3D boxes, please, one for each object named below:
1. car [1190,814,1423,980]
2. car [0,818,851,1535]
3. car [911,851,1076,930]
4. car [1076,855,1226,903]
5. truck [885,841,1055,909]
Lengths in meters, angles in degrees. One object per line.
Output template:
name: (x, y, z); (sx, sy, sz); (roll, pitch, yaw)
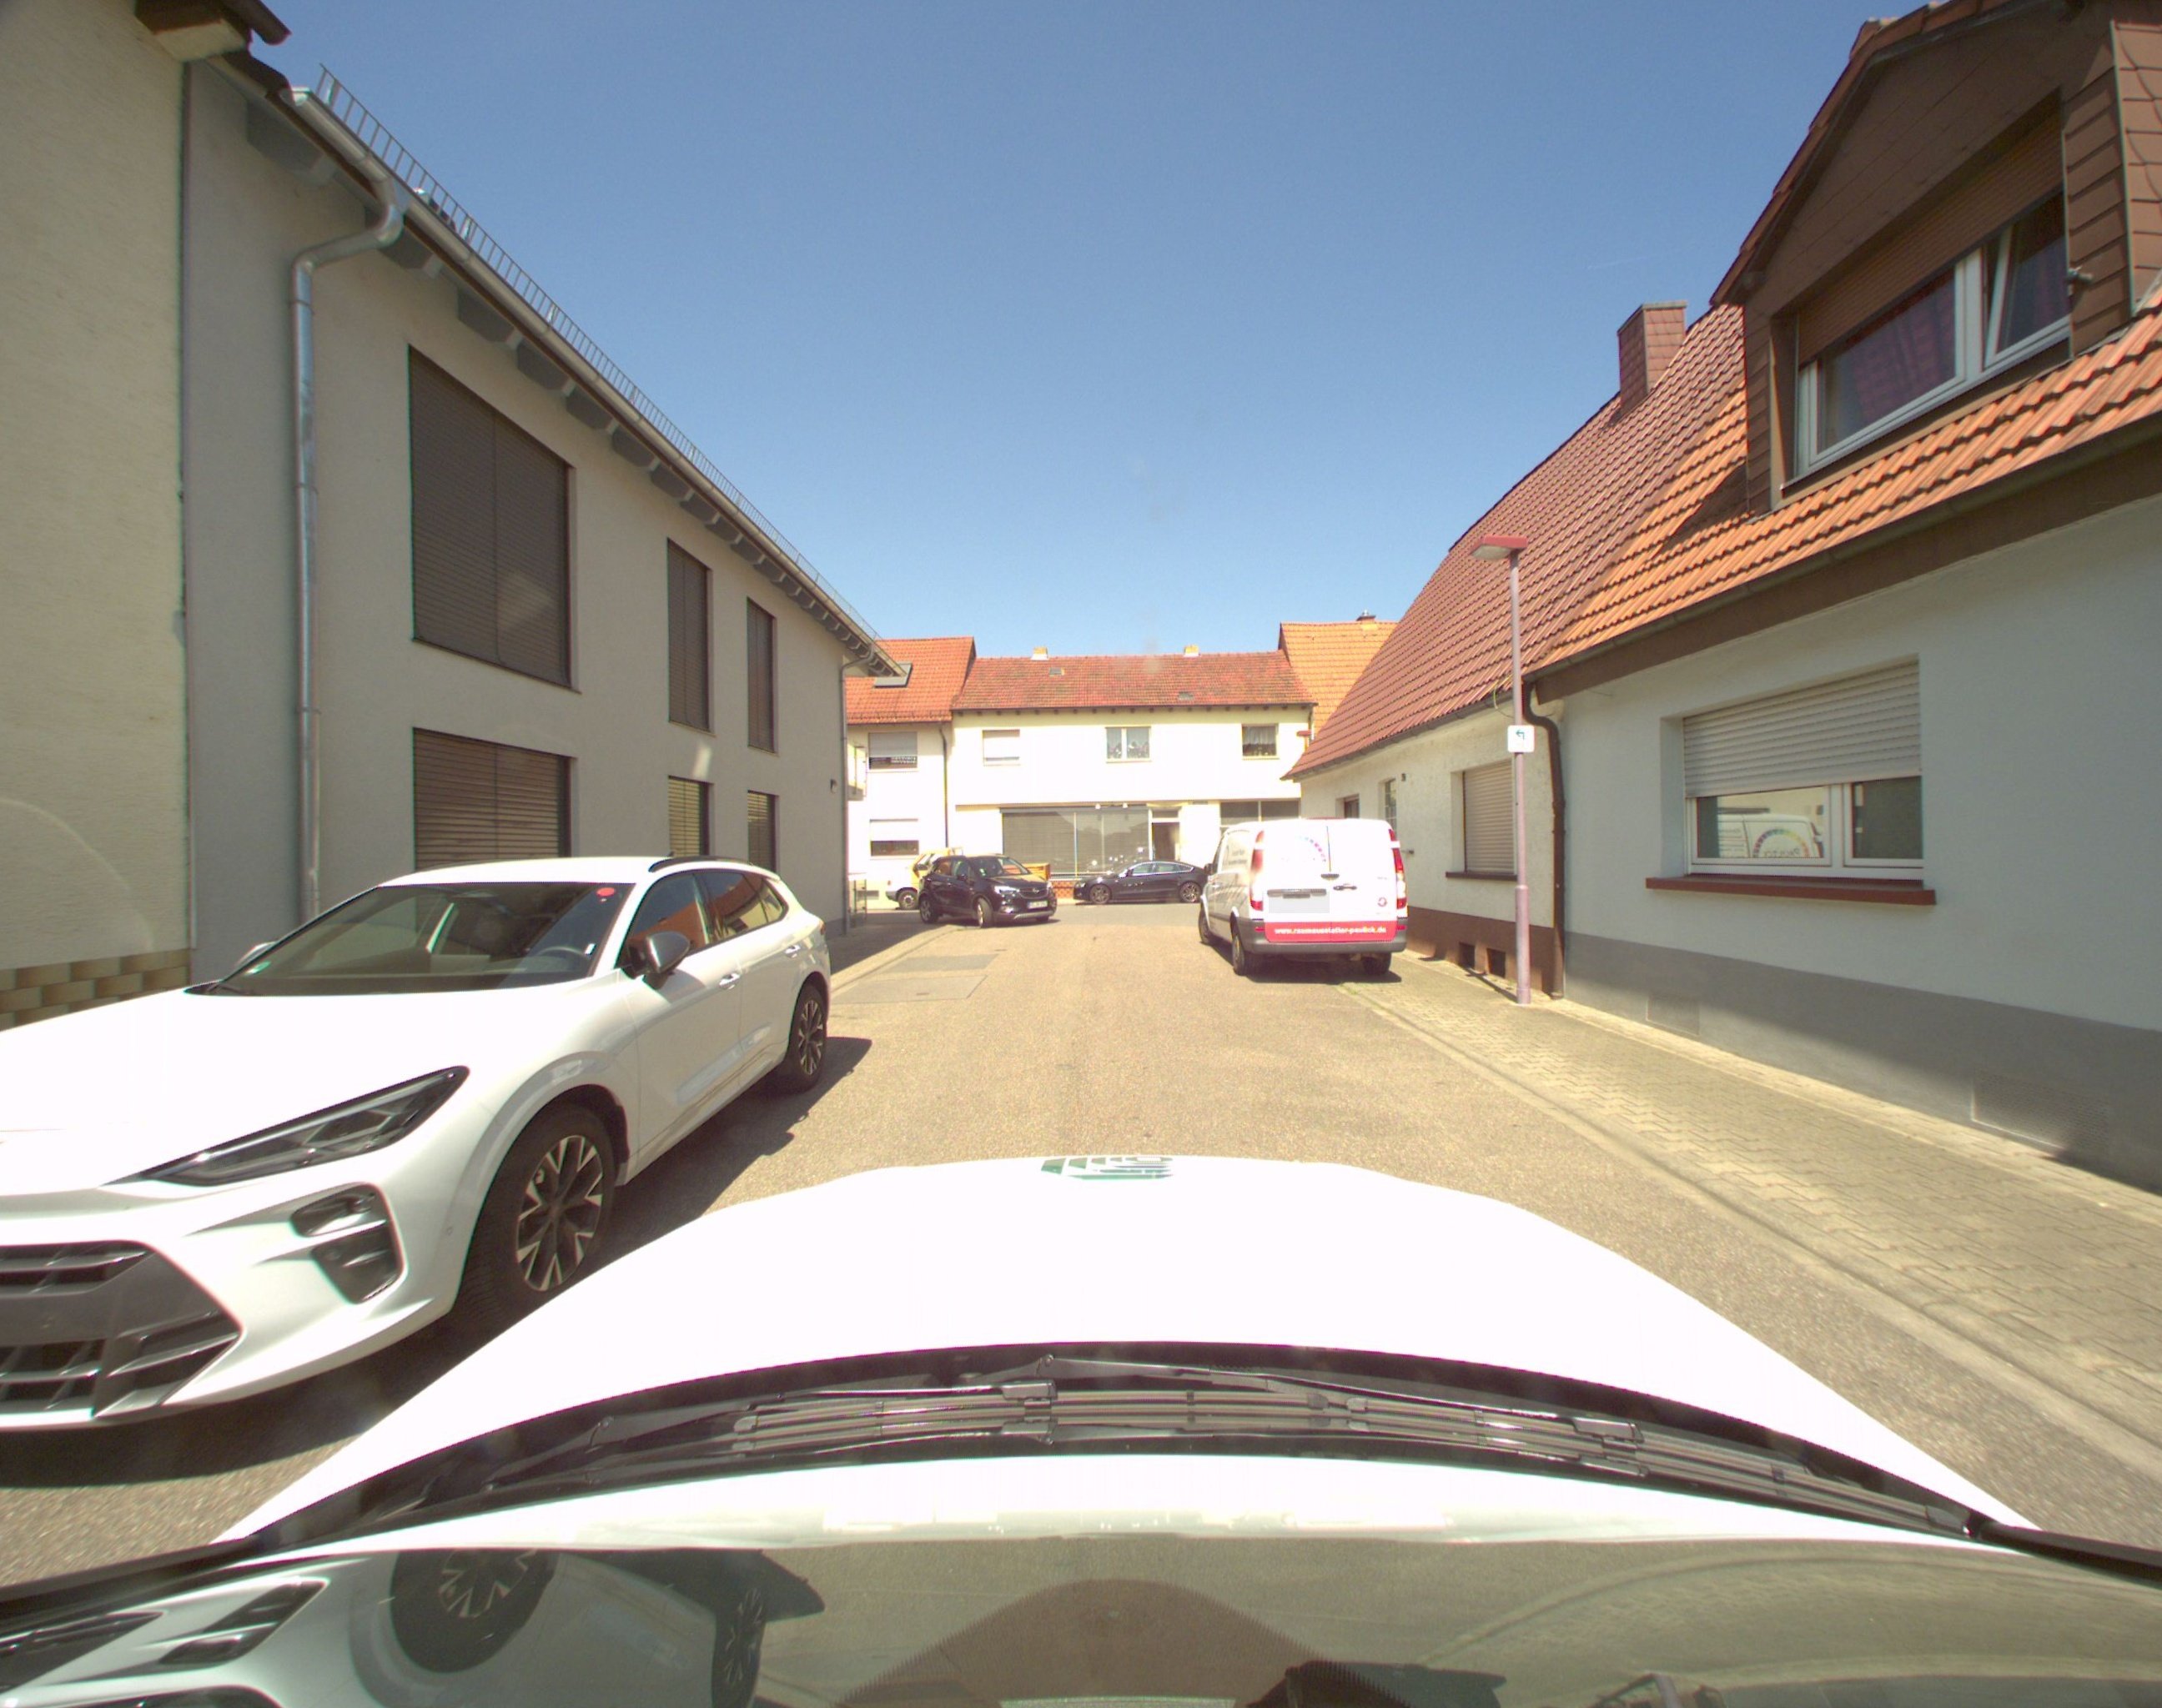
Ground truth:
car: (2.862, 0.489, 11.696); (2.005, 1.839, 5.266); (0, 0, 1)
car: (-2.645, 0.766, 4.042); (1.769, 1.615, 4.347); (-2, 0, -1)
car: (-2.164, 0.806, 19.181); (1.771, 1.583, 4.230); (-3, 0, -39)
car: (2.156, 0.816, 26.036); (4.602, 1.394, 1.927); (-1, -3, -1)
truck: (-3.447, 0.651, 26.019); (5.045, 2.014, 2.190); (-1, -1, 1)
